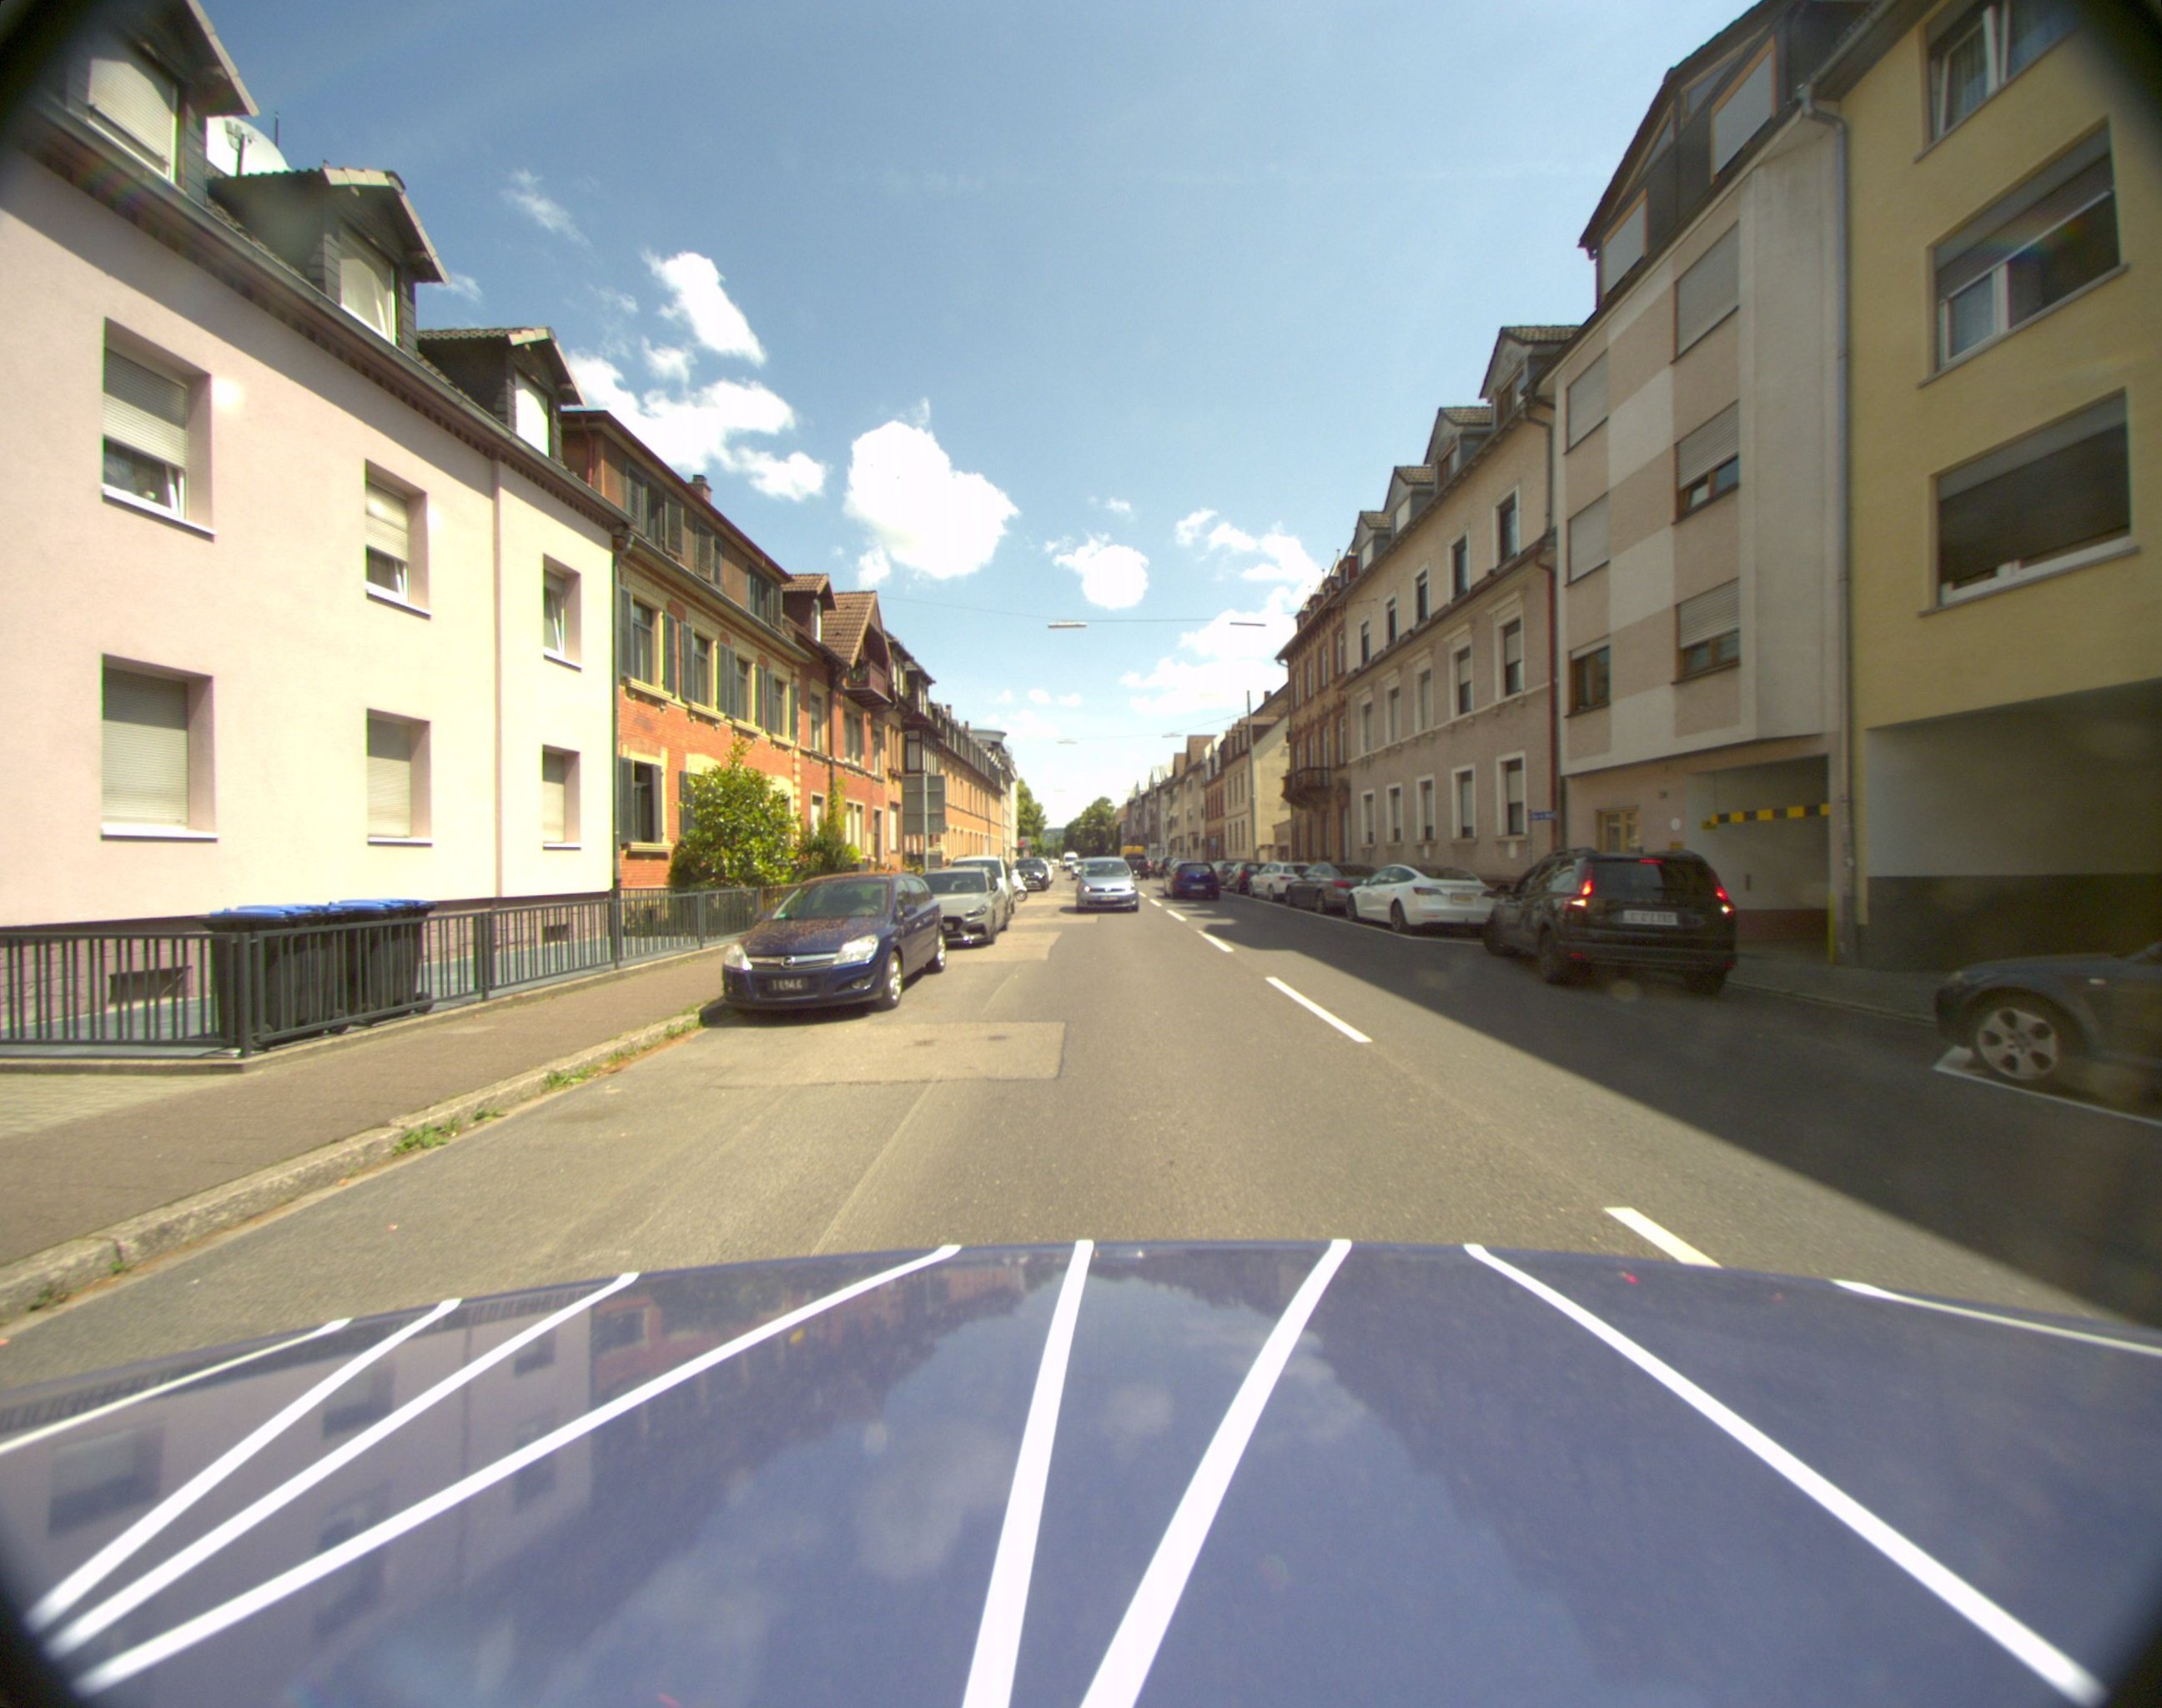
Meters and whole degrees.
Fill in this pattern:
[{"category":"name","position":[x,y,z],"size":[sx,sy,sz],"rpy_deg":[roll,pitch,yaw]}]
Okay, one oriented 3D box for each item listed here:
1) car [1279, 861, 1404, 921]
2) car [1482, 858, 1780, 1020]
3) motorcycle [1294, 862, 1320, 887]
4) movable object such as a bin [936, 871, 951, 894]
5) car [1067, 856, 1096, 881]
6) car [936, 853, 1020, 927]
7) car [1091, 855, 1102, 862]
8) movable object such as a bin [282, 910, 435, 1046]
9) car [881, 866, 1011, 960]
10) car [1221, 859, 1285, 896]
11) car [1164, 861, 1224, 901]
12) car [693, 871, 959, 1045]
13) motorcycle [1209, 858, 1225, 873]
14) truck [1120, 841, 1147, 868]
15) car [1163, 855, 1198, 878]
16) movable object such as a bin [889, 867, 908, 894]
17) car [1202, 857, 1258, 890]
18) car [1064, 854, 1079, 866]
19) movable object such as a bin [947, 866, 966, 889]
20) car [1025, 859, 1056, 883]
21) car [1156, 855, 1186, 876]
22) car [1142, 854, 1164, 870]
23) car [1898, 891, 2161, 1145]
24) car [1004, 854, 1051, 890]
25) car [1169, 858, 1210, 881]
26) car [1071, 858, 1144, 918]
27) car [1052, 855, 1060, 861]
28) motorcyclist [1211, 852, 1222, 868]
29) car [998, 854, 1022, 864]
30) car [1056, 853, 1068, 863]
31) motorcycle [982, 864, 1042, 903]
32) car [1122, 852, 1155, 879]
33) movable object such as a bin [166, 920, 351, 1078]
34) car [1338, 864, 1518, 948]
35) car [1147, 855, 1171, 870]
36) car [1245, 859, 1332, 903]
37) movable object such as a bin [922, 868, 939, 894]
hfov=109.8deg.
[{"category":"car","position":[7.344,0.983,21.972],"size":[1.845,1.414,4.644],"rpy_deg":[1,0,-2]},{"category":"car","position":[6.976,0.890,10.303],"size":[1.907,1.628,4.564],"rpy_deg":[1,0,18]},{"category":"motorcycle","position":[10.269,0.909,34.598],"size":[0.714,1.047,1.936],"rpy_deg":[-1,0,3]},{"category":"movable object such as a bin","position":[-5.748,1.171,31.778],"size":[0.482,0.935,0.526],"rpy_deg":[-1,0,1]},{"category":"car","position":[0.019,1.006,54.981],"size":[1.998,1.652,4.625],"rpy_deg":[0,0,0]},{"category":"car","position":[-2.737,0.905,21.211],"size":[1.865,1.737,4.617],"rpy_deg":[-3,0,-3]},{"category":"car","position":[3.419,0.960,168.618],"size":[1.891,1.531,4.566],"rpy_deg":[0,0,-5]},{"category":"movable object such as a bin","position":[-6.266,1.048,6.622],"size":[0.654,1.076,0.684],"rpy_deg":[0,0,4]},{"category":"car","position":[-2.514,1.039,15.163],"size":[1.865,1.478,4.309],"rpy_deg":[-3,0,-1]},{"category":"car","position":[7.671,1.021,34.300],"size":[1.844,1.414,4.502],"rpy_deg":[3,0,1]},{"category":"car","position":[4.229,0.991,29.082],"size":[1.820,1.380,4.001],"rpy_deg":[0,0,2]},{"category":"car","position":[-2.785,1.035,9.502],"size":[1.700,1.478,4.618],"rpy_deg":[-3,0,0]},{"category":"motorcycle","position":[10.248,0.831,57.237],"size":[0.847,1.072,1.871],"rpy_deg":[-3,0,-1]},{"category":"truck","position":[5.649,0.037,83.376],"size":[2.231,2.755,7.562],"rpy_deg":[1,0,-1]},{"category":"car","position":[7.440,0.916,57.147],"size":[1.844,1.587,4.501],"rpy_deg":[3,0,-1]},{"category":"movable object such as a bin","position":[-7.641,1.108,31.816],"size":[0.610,1.070,0.761],"rpy_deg":[-1,0,1]},{"category":"car","position":[7.665,0.967,39.480],"size":[1.845,1.414,4.501],"rpy_deg":[4,0,-2]},{"category":"car","position":[-1.126,0.735,91.308],"size":[1.721,1.406,4.589],"rpy_deg":[0,0,0]},{"category":"movable object such as a bin","position":[-5.854,1.104,35.702],"size":[0.790,1.082,0.686],"rpy_deg":[0,0,-3]},{"category":"car","position":[-2.500,1.057,47.858],"size":[1.721,1.406,4.589],"rpy_deg":[0,0,0]},{"category":"car","position":[7.259,0.923,61.609],"size":[1.844,1.587,4.501],"rpy_deg":[1,0,-1]},{"category":"car","position":[8.128,0.885,86.340],"size":[1.845,1.586,4.385],"rpy_deg":[-3,0,-3]},{"category":"car","position":[7.070,0.984,3.656],"size":[1.909,1.371,4.061],"rpy_deg":[1,0,1]},{"category":"car","position":[-2.586,0.850,37.882],"size":[1.998,1.652,4.625],"rpy_deg":[0,0,0]},{"category":"car","position":[7.379,1.005,51.997],"size":[1.845,1.414,4.500],"rpy_deg":[2,0,-4]},{"category":"car","position":[0.669,0.903,22.149],"size":[1.747,1.513,4.221],"rpy_deg":[-1,0,-3]},{"category":"car","position":[-5.823,0.831,179.006],"size":[1.721,1.406,4.589],"rpy_deg":[0,0,0]},{"category":"motorcyclist","position":[10.224,0.441,57.285],"size":[0.720,1.241,0.712],"rpy_deg":[-1,1,-1]},{"category":"car","position":[-11.662,0.852,124.536],"size":[3.775,1.657,1.662],"rpy_deg":[0,0,-8]},{"category":"car","position":[-2.871,0.622,116.048],"size":[1.721,1.406,4.589],"rpy_deg":[0,0,0]},{"category":"motorcycle","position":[-2.590,1.092,28.495],"size":[1.990,1.377,1.115],"rpy_deg":[-1,1,38]},{"category":"car","position":[4.012,0.785,53.885],"size":[1.998,1.782,5.148],"rpy_deg":[0,0,0]},{"category":"movable object such as a bin","position":[-6.251,1.071,5.809],"size":[0.654,1.076,0.684],"rpy_deg":[0,0,4]},{"category":"car","position":[7.291,1.011,16.548],"size":[1.844,1.414,4.558],"rpy_deg":[2,0,1]},{"category":"car","position":[8.206,0.870,80.098],"size":[1.845,1.479,4.385],"rpy_deg":[-3,0,-2]},{"category":"car","position":[7.604,0.941,28.354],"size":[1.845,1.414,4.501],"rpy_deg":[1,0,-2]},{"category":"movable object such as a bin","position":[-6.298,1.119,31.804],"size":[0.558,1.069,0.727],"rpy_deg":[-1,0,1]}]
